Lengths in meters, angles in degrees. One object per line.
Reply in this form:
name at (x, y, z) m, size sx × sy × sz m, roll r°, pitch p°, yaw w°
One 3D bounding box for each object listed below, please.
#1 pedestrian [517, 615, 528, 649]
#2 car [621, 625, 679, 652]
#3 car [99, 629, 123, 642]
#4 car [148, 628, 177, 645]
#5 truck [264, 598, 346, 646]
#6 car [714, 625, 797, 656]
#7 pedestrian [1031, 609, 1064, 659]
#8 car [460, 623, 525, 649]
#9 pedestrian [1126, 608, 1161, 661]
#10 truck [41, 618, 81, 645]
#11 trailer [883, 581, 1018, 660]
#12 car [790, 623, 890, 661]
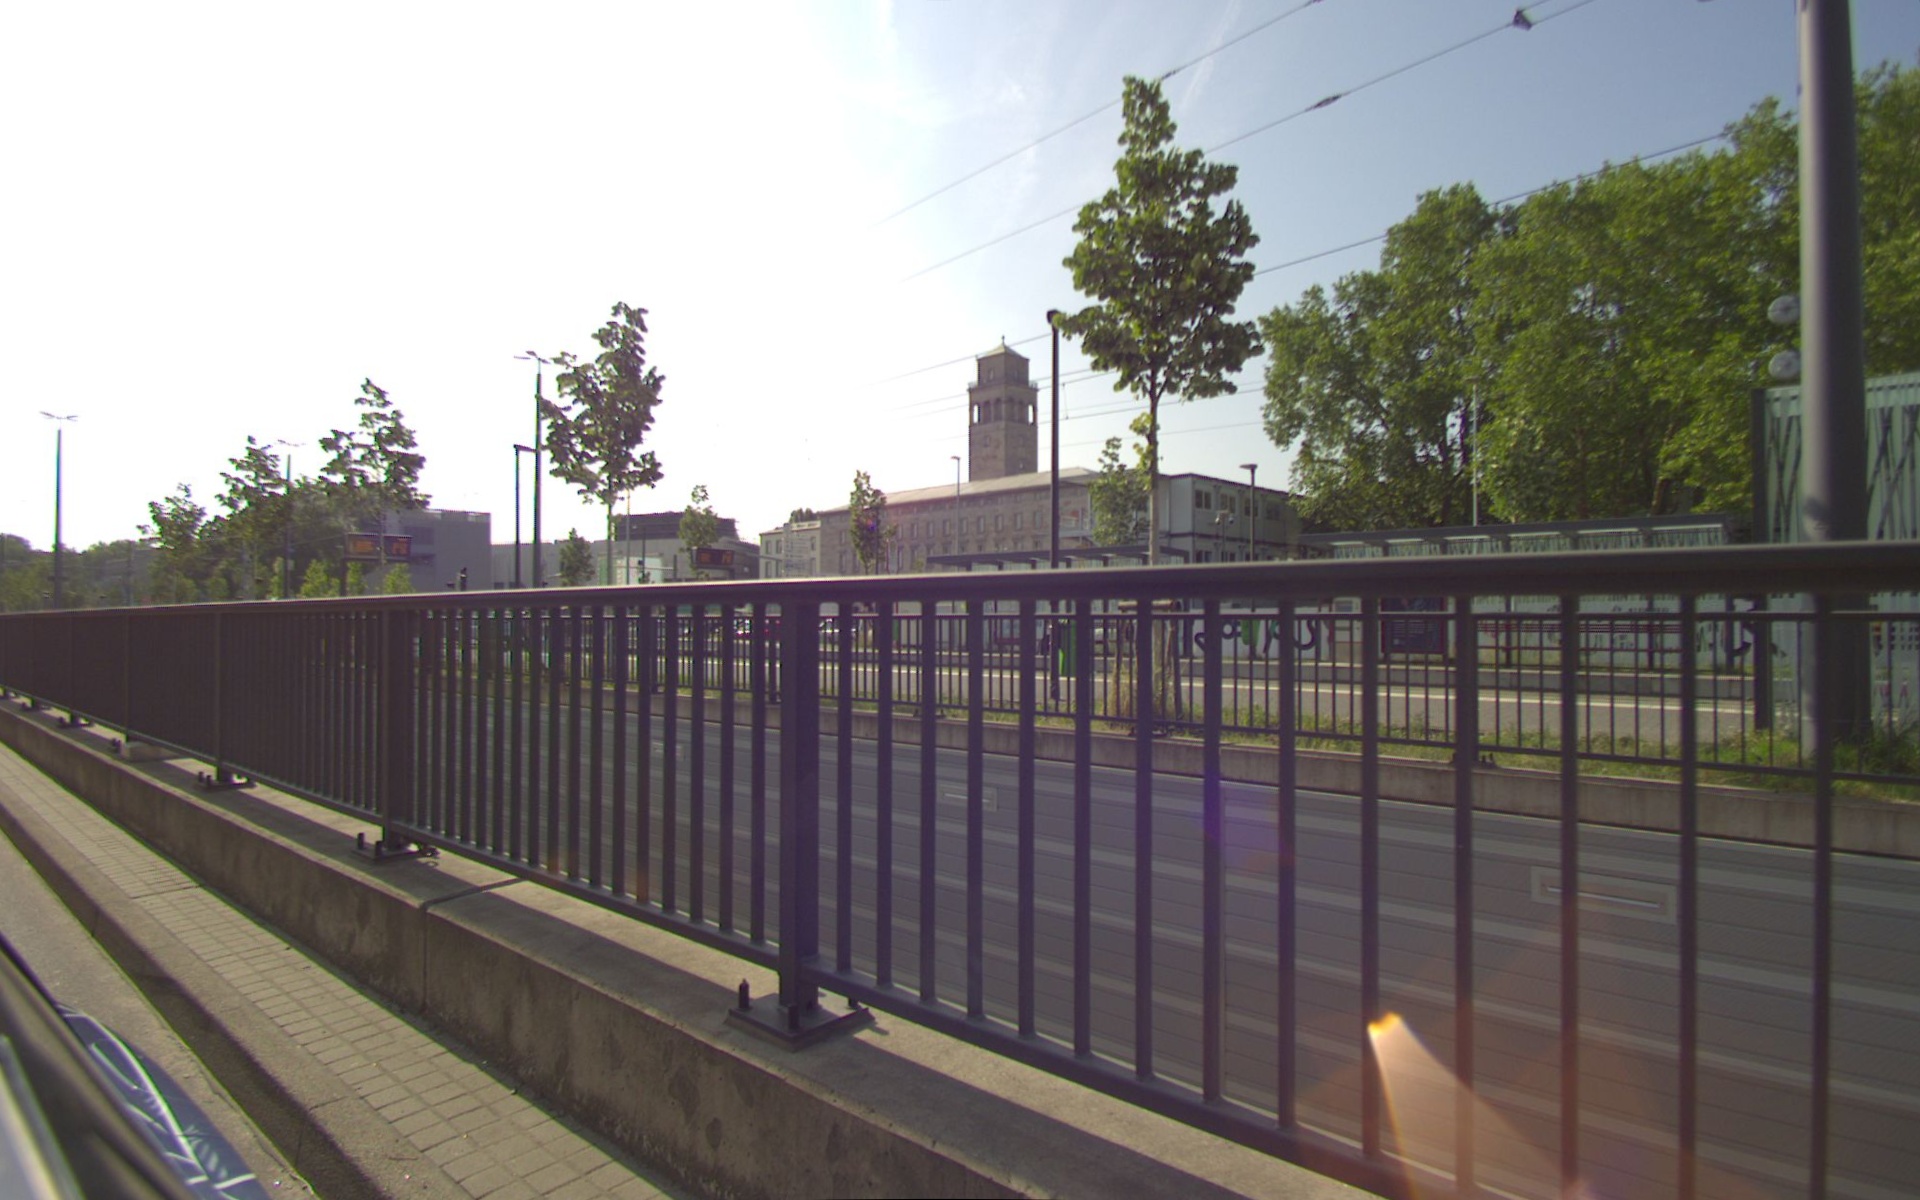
pedestrian at (-21.639, 1.589, 50.055) m, size 0.365 × 1.689 × 0.642 m, roll 1°, pitch -2°, yaw -32°
car at (-17.362, 2.141, 56.688) m, size 3.432 × 1.474 × 1.579 m, roll -2°, pitch -2°, yaw 42°
car at (-106.344, 4.466, 126.745) m, size 3.996 × 1.614 × 1.623 m, roll -1°, pitch -2°, yaw 39°
car at (-86.480, 3.993, 109.671) m, size 4.515 × 1.802 × 1.599 m, roll -2°, pitch -2°, yaw 40°
truck at (-51.962, 1.800, 80.178) m, size 8.882 × 3.614 × 2.991 m, roll -2°, pitch -2°, yaw 40°
car at (-9.367, 1.827, 46.250) m, size 3.692 × 1.372 × 1.704 m, roll -2°, pitch -2°, yaw 37°
pedestrian at (2.335, 0.894, 26.918) m, size 0.592 × 1.310 × 0.674 m, roll -2°, pitch -2°, yaw 38°
car at (-30.124, 2.312, 65.146) m, size 4.606 × 1.594 × 1.776 m, roll -1°, pitch -2°, yaw 36°
pedestrian at (4.583, 0.861, 25.277) m, size 0.592 × 1.310 × 0.674 m, roll -2°, pitch -2°, yaw 38°
truck at (-129.094, 4.543, 145.257) m, size 10.416 × 3.838 × 2.941 m, roll -2°, pitch -2°, yaw 41°
trailer at (-0.424, 0.754, 38.503) m, size 5.019 × 2.802 × 2.024 m, roll -1°, pitch 0°, yaw 41°
car at (-5.043, 1.739, 42.181) m, size 4.400 × 1.481 × 1.626 m, roll -2°, pitch -2°, yaw 40°
